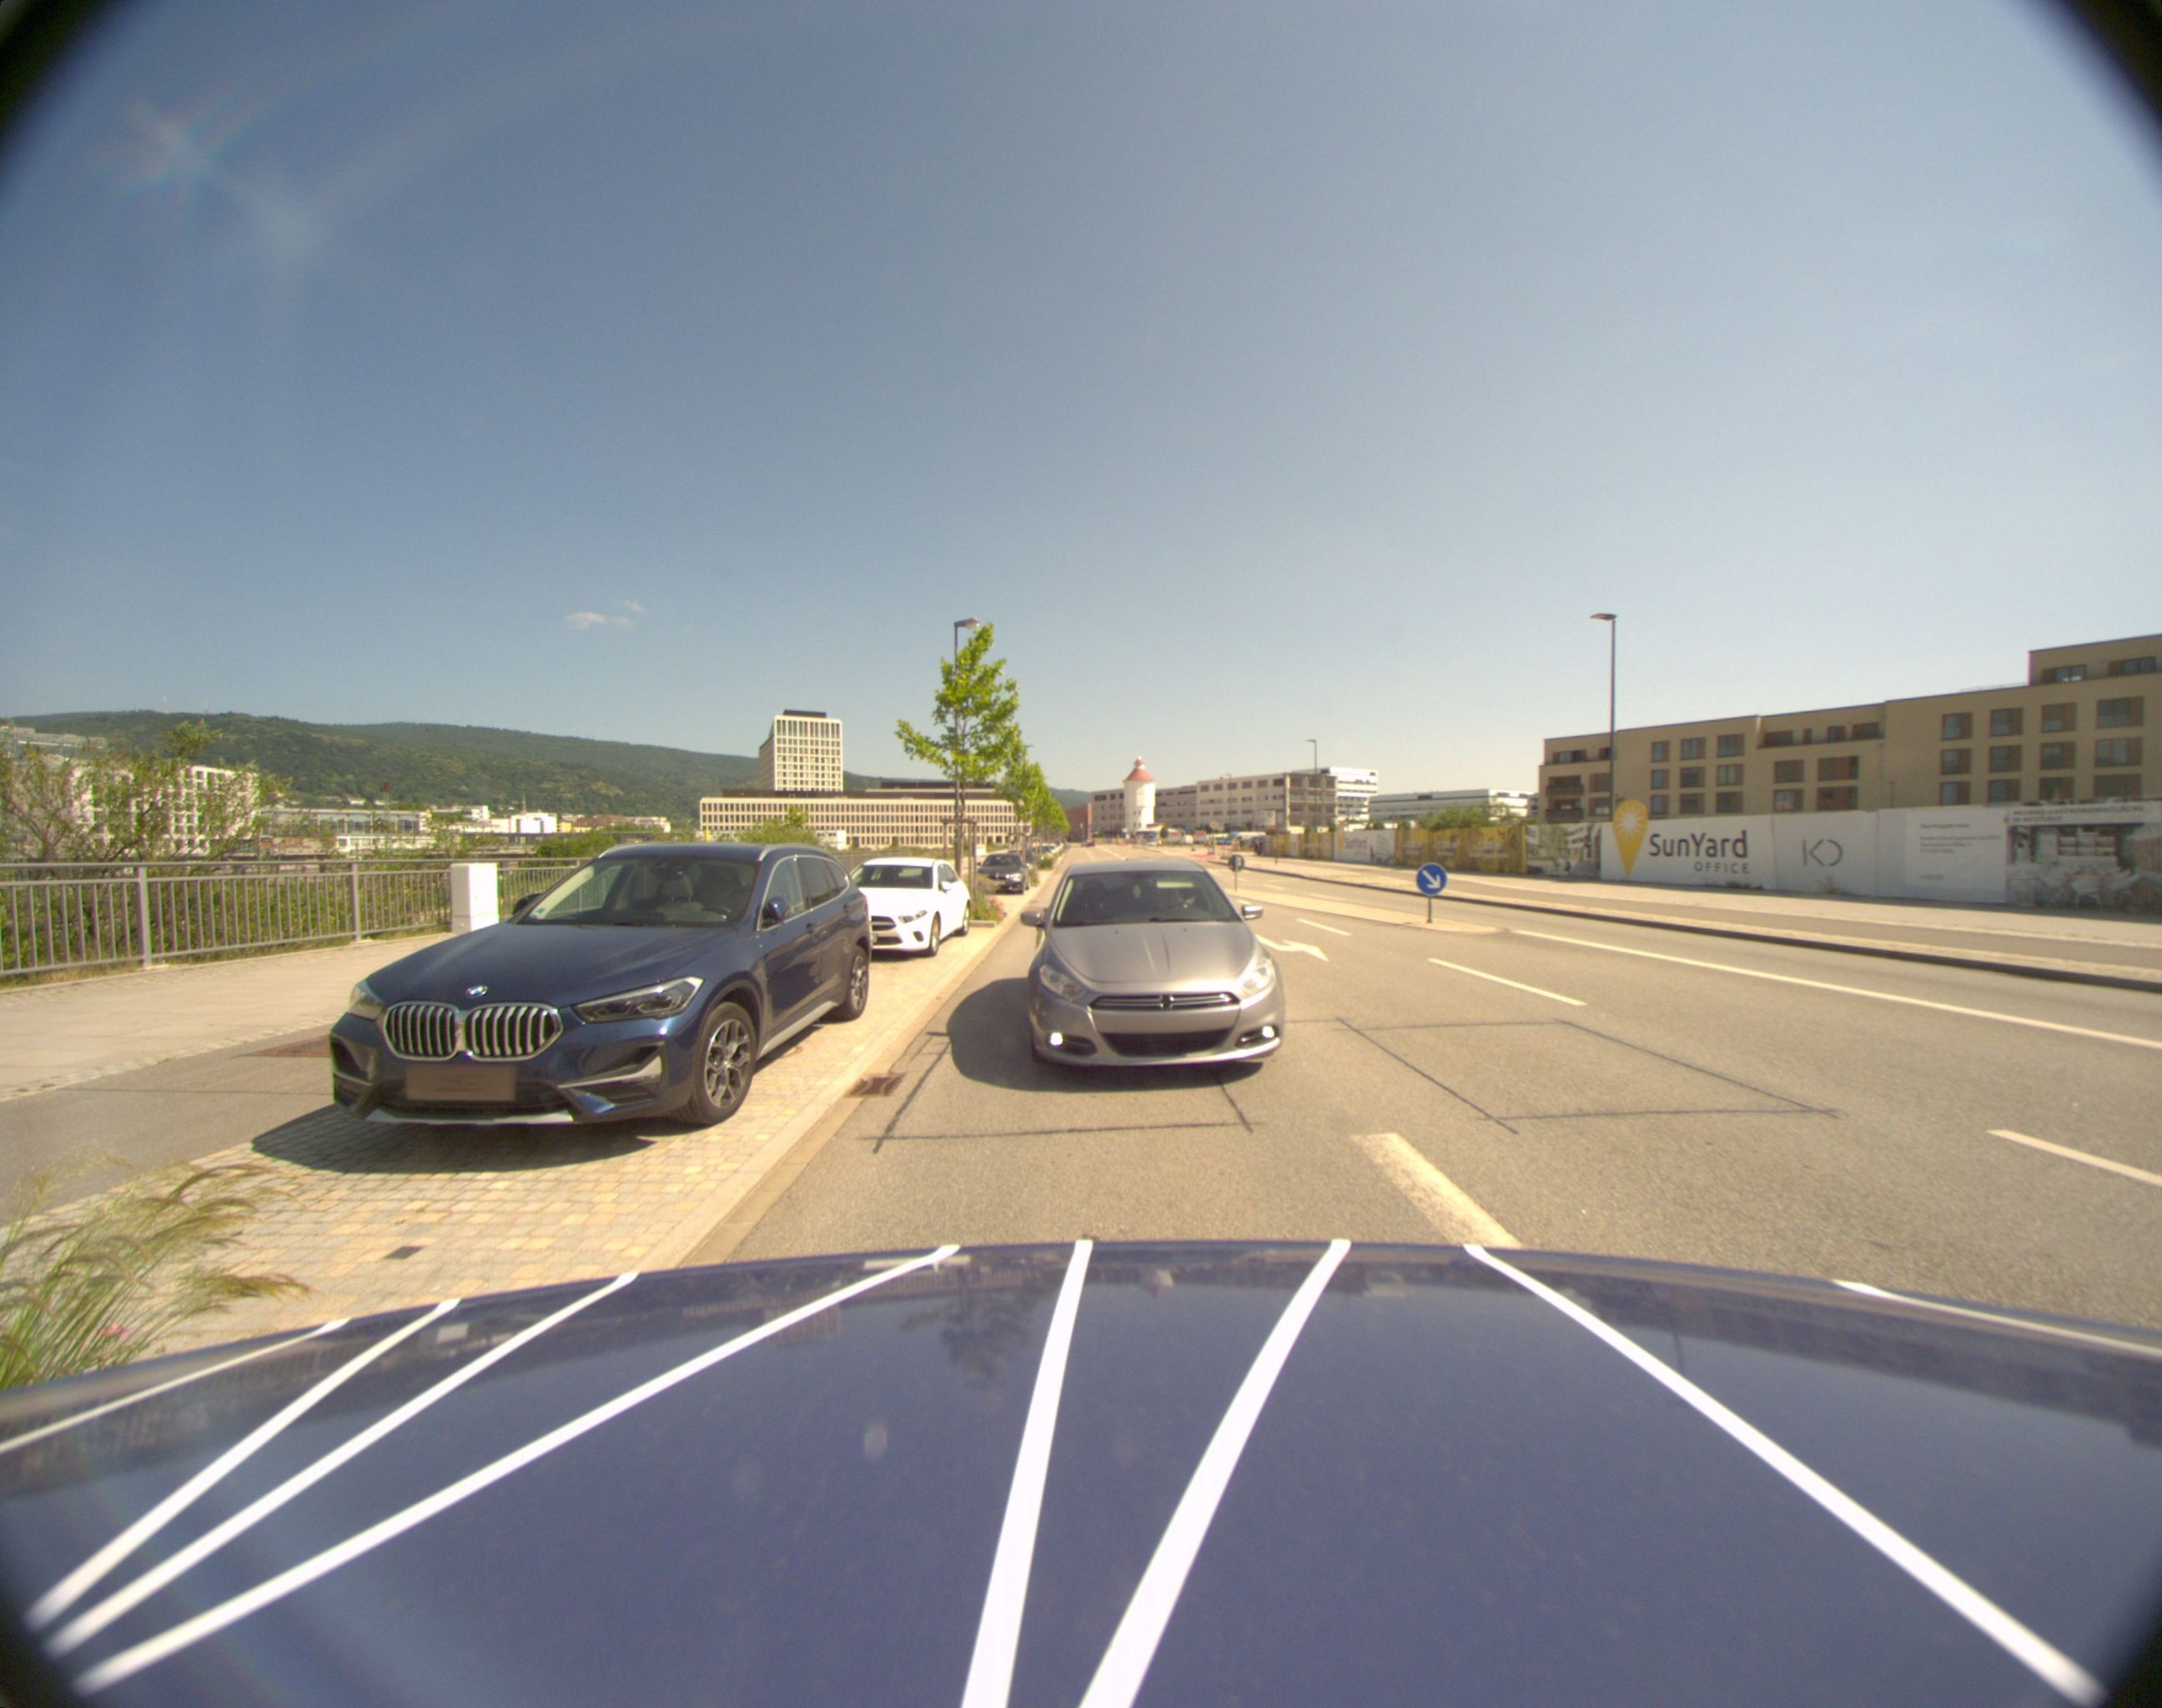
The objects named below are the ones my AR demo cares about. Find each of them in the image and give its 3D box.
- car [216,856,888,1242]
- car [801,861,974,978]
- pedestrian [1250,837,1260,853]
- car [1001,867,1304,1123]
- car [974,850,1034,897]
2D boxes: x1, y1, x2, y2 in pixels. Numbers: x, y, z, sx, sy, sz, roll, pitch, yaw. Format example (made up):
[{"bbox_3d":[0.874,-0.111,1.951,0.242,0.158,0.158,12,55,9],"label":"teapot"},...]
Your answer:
[{"bbox_3d":[-2.873,0.873,5.479,1.769,1.598,4.238,-2,1,1],"label":"car"},{"bbox_3d":[-2.897,0.910,12.287,1.664,1.447,3.999,-2,1,1],"label":"car"},{"bbox_3d":[17.760,-0.923,77.437,0.705,1.577,0.617,-3,1,-36],"label":"pedestrian"},{"bbox_3d":[0.459,0.893,6.664,1.784,1.372,4.135,-2,1,1],"label":"car"},{"bbox_3d":[-2.756,0.645,27.979,1.664,1.529,3.999,-2,1,1],"label":"car"}]
